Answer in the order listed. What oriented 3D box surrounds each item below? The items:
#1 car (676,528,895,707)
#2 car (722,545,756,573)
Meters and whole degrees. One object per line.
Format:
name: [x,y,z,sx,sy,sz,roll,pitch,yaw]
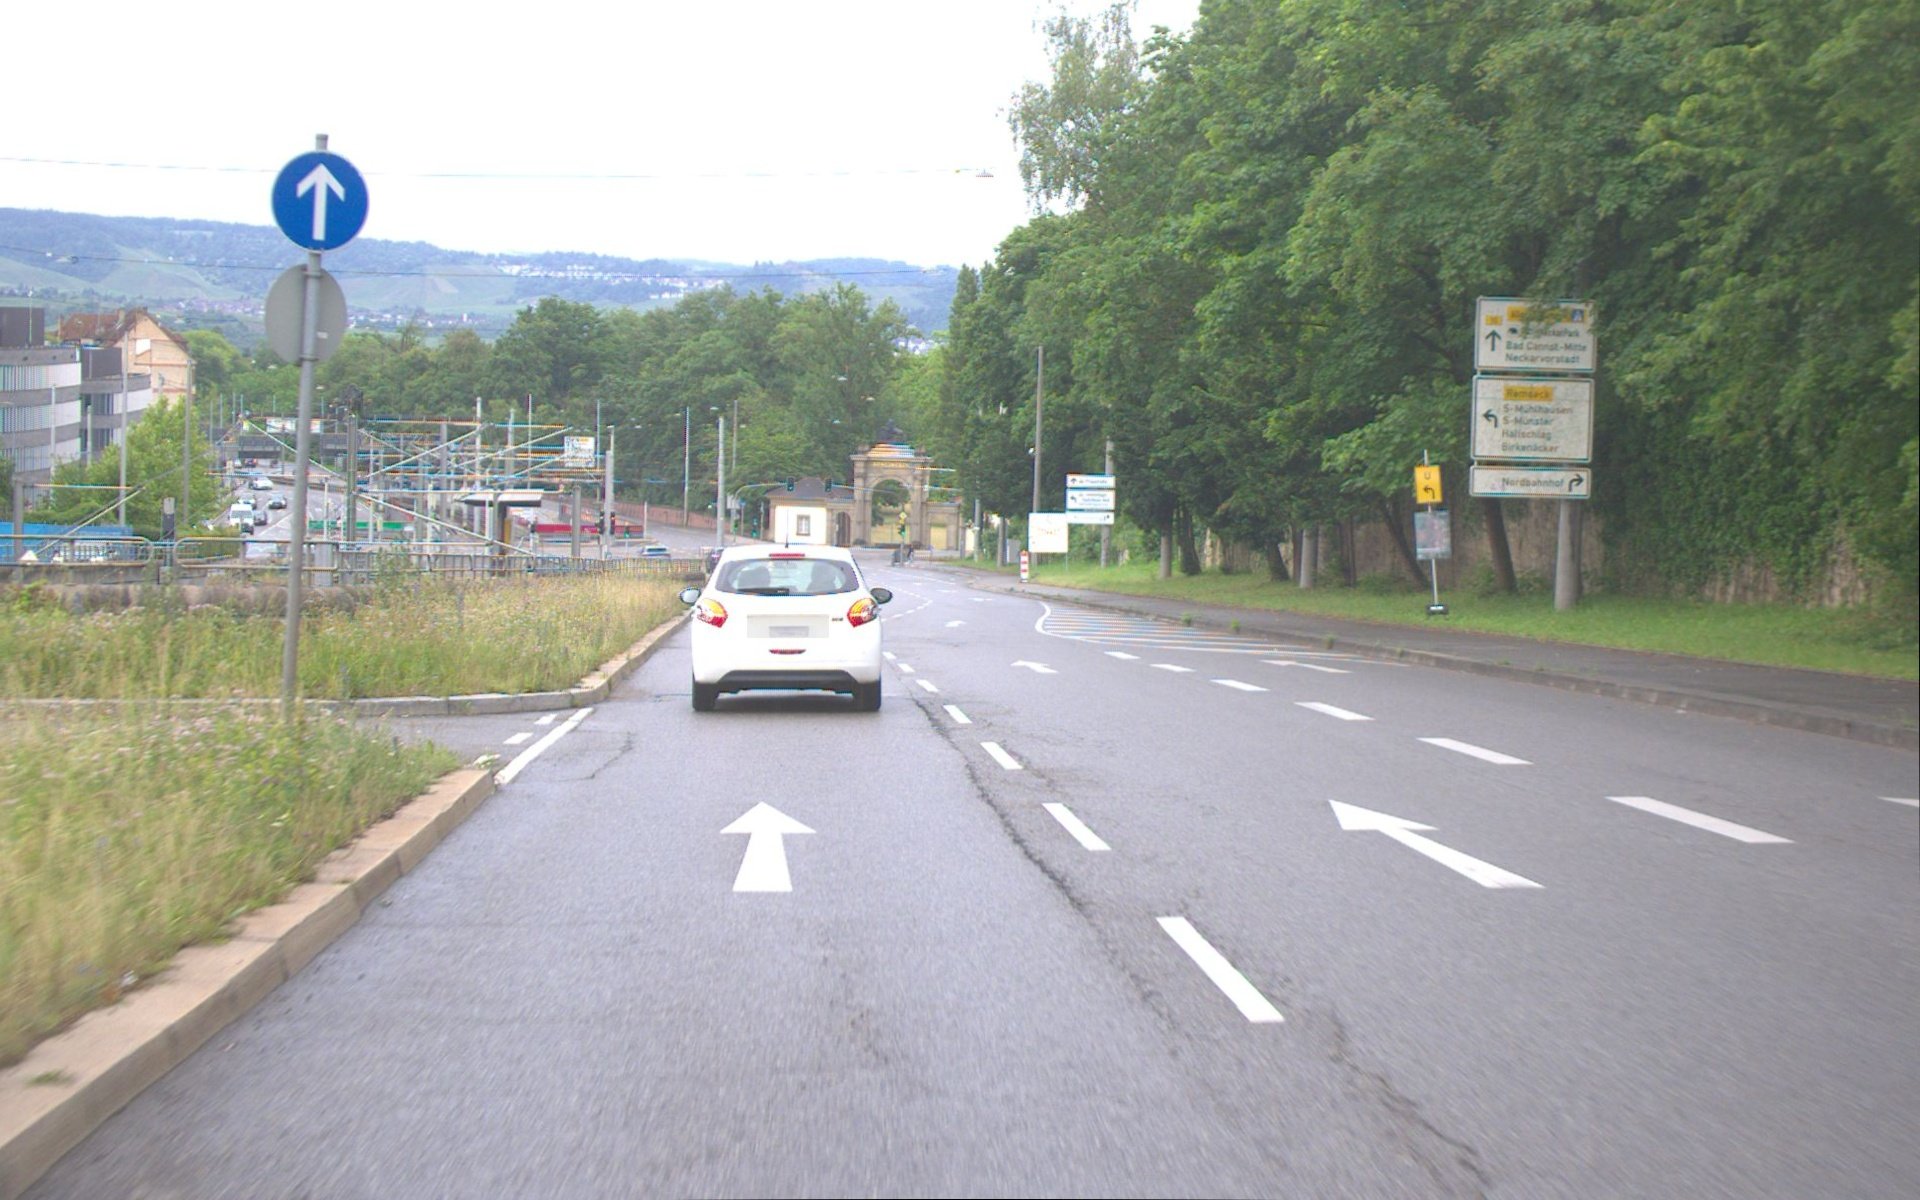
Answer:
car: [-1.578,0.113,31.512,1.868,1.505,3.900,0,1,-2]
car: [-13.118,-2.448,204.345,1.822,1.600,4.000,-1,1,-2]
